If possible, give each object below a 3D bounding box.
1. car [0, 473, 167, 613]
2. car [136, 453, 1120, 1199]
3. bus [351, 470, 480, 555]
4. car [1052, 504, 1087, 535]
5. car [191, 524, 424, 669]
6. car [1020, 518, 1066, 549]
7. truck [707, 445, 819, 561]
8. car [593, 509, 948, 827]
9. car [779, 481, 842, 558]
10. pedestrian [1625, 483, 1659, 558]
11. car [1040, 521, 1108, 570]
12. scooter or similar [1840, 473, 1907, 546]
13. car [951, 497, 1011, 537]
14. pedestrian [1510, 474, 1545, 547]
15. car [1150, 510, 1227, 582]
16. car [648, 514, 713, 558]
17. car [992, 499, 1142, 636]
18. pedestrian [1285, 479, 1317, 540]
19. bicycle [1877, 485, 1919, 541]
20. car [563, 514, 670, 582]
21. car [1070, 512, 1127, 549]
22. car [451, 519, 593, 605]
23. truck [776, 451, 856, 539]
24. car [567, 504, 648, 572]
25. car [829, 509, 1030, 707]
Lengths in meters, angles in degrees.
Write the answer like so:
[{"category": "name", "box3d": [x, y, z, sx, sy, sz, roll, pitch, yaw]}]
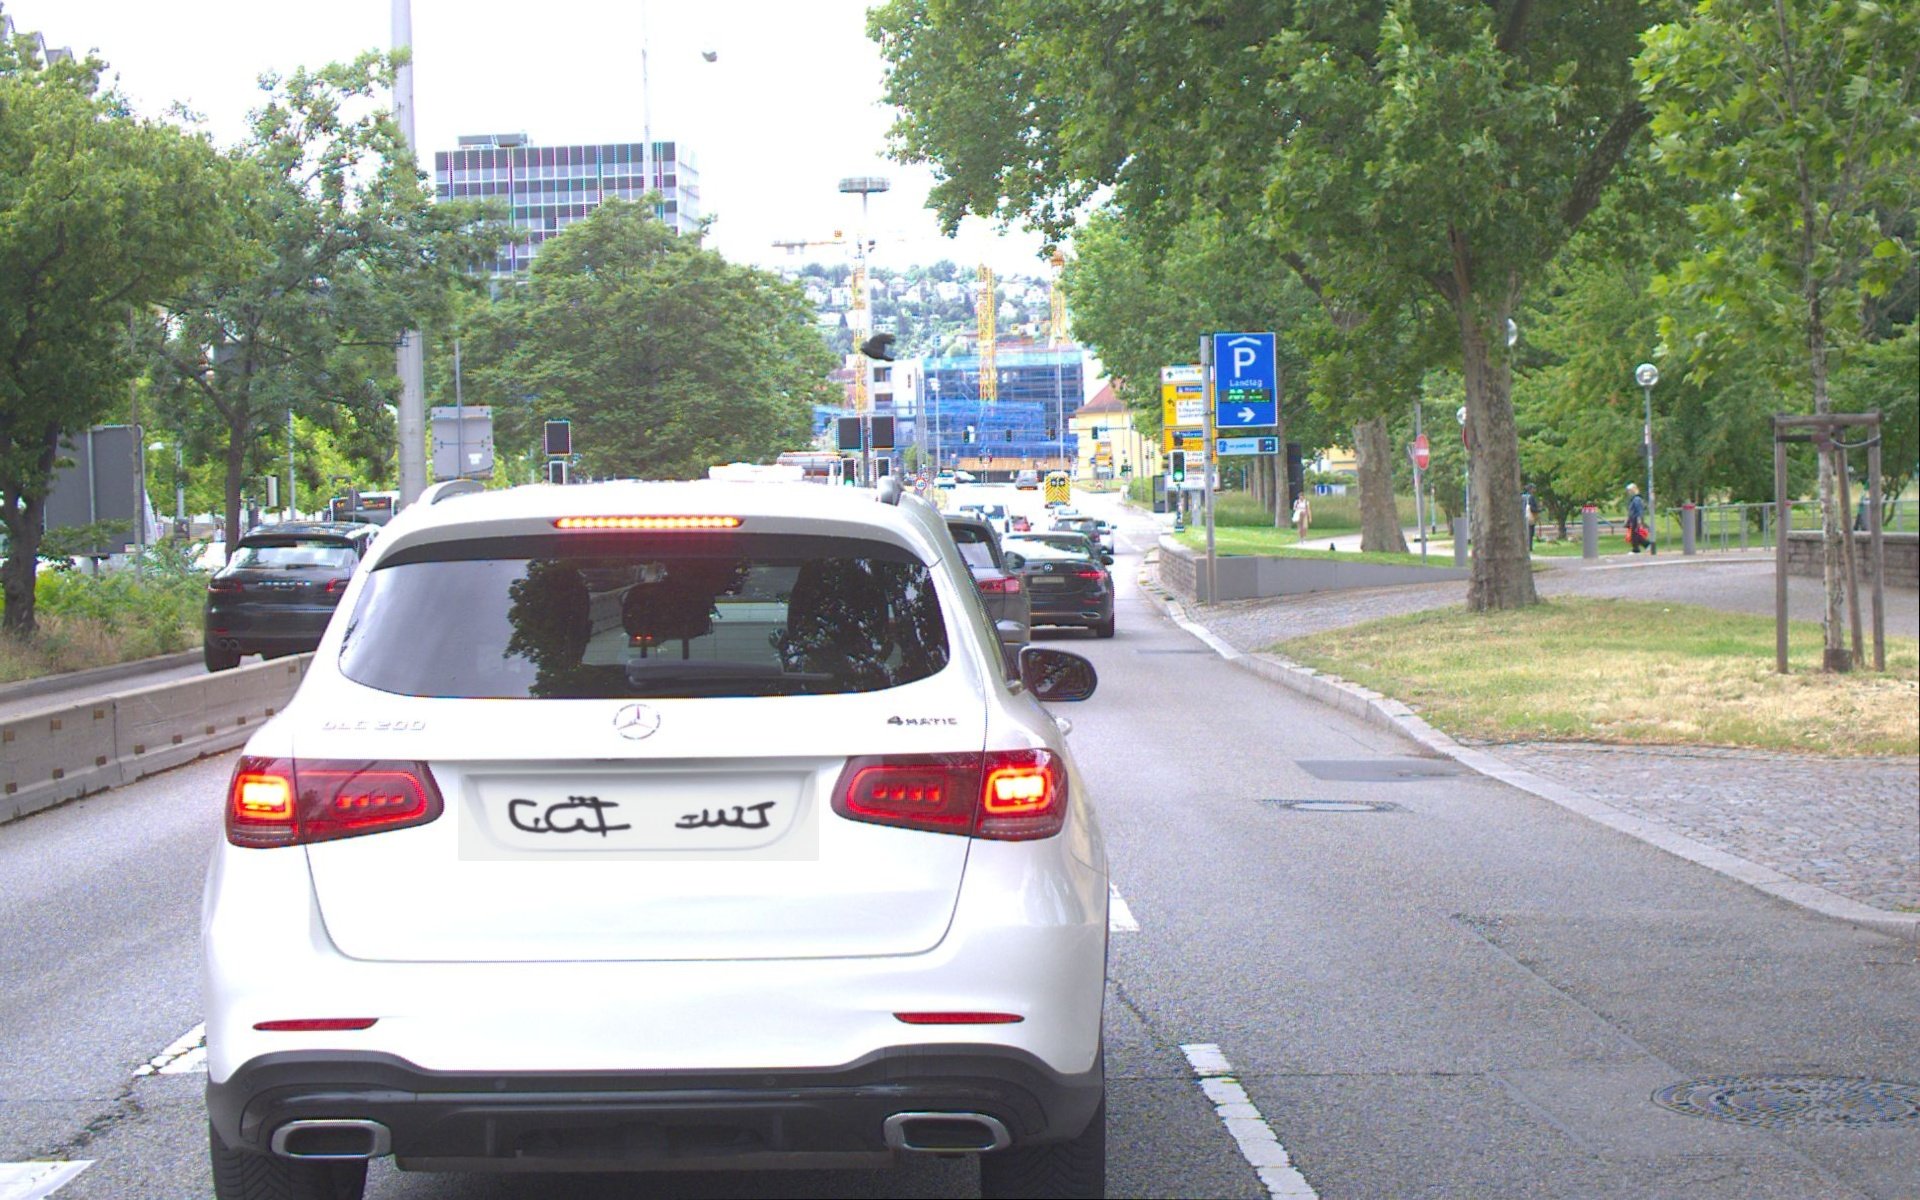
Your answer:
[{"category": "car", "box3d": [-13.623, -0.873, 51.639, 2.115, 1.962, 5.579, -1, 1, 0]}, {"category": "car", "box3d": [-0.706, 0.500, 8.599, 1.788, 1.619, 4.438, -1, 1, -3]}, {"category": "bus", "box3d": [-21.975, -3.544, 139.617, 3.667, 3.194, 14.276, -1, 2, -3]}, {"category": "car", "box3d": [6.033, -4.439, 189.219, 1.758, 1.663, 4.168, -1, 2, 0]}, {"category": "car", "box3d": [-7.014, -0.078, 37.329, 1.776, 1.415, 4.000, -1, 2, -1]}, {"category": "car", "box3d": [3.559, -2.861, 148.172, 1.947, 1.315, 4.017, 0, 1, 1]}, {"category": "truck", "box3d": [-4.992, -2.473, 87.934, 2.621, 2.851, 7.079, 0, 1, -1]}, {"category": "car", "box3d": [-1.125, 0.309, 19.403, 1.795, 1.603, 3.756, -1, 1, -5]}, {"category": "car", "box3d": [-4.971, -2.694, 114.908, 1.993, 2.467, 4.001, -1, 1, -1]}, {"category": "pedestrian", "box3d": [14.923, -1.738, 75.237, 0.638, 1.605, 0.663, -1, 1, 7]}, {"category": "car", "box3d": [3.367, -1.636, 102.215, 1.947, 1.423, 4.017, 0, 1, 1]}, {"category": "scooter or similar", "box3d": [16.049, -1.578, 60.458, 0.636, 1.241, 2.225, 1, 1, 2]}, {"category": "car", "box3d": [0.719, -2.781, 115.548, 1.947, 1.315, 4.017, 0, 1, 1]}, {"category": "pedestrian", "box3d": [13.524, -2.140, 81.949, 0.759, 1.719, 0.699, -1, 1, 8]}, {"category": "car", "box3d": [6.541, -1.554, 98.702, 1.993, 2.007, 4.000, 0, 1, 1]}, {"category": "car", "box3d": [-8.626, -1.973, 106.284, 1.659, 1.315, 3.547, 0, 1, 1]}, {"category": "car", "box3d": [1.415, -0.475, 46.759, 1.825, 1.746, 4.000, -1, 1, -1]}, {"category": "pedestrian", "box3d": [11.232, -2.977, 113.167, 0.761, 2.007, 0.697, 0, 2, 36]}, {"category": "bicycle", "box3d": [18.627, -1.685, 66.799, 0.954, 1.060, 2.336, 1, 1, -1]}, {"category": "car", "box3d": [-6.934, -1.063, 69.709, 1.659, 1.315, 3.547, 0, 1, 3]}, {"category": "car", "box3d": [5.052, -2.552, 125.772, 1.947, 1.315, 4.017, 0, 1, 1]}, {"category": "car", "box3d": [-6.957, -0.628, 54.892, 1.659, 1.315, 3.547, 0, 1, 3]}, {"category": "truck", "box3d": [-5.052, -3.668, 121.466, 2.691, 2.981, 5.638, 1, 1, -1]}, {"category": "car", "box3d": [-8.168, -1.443, 79.806, 1.659, 1.508, 3.548, -1, 1, -3]}, {"category": "car", "box3d": [-0.292, 0.031, 30.281, 1.659, 1.633, 3.548, 0, 1, -1]}]
